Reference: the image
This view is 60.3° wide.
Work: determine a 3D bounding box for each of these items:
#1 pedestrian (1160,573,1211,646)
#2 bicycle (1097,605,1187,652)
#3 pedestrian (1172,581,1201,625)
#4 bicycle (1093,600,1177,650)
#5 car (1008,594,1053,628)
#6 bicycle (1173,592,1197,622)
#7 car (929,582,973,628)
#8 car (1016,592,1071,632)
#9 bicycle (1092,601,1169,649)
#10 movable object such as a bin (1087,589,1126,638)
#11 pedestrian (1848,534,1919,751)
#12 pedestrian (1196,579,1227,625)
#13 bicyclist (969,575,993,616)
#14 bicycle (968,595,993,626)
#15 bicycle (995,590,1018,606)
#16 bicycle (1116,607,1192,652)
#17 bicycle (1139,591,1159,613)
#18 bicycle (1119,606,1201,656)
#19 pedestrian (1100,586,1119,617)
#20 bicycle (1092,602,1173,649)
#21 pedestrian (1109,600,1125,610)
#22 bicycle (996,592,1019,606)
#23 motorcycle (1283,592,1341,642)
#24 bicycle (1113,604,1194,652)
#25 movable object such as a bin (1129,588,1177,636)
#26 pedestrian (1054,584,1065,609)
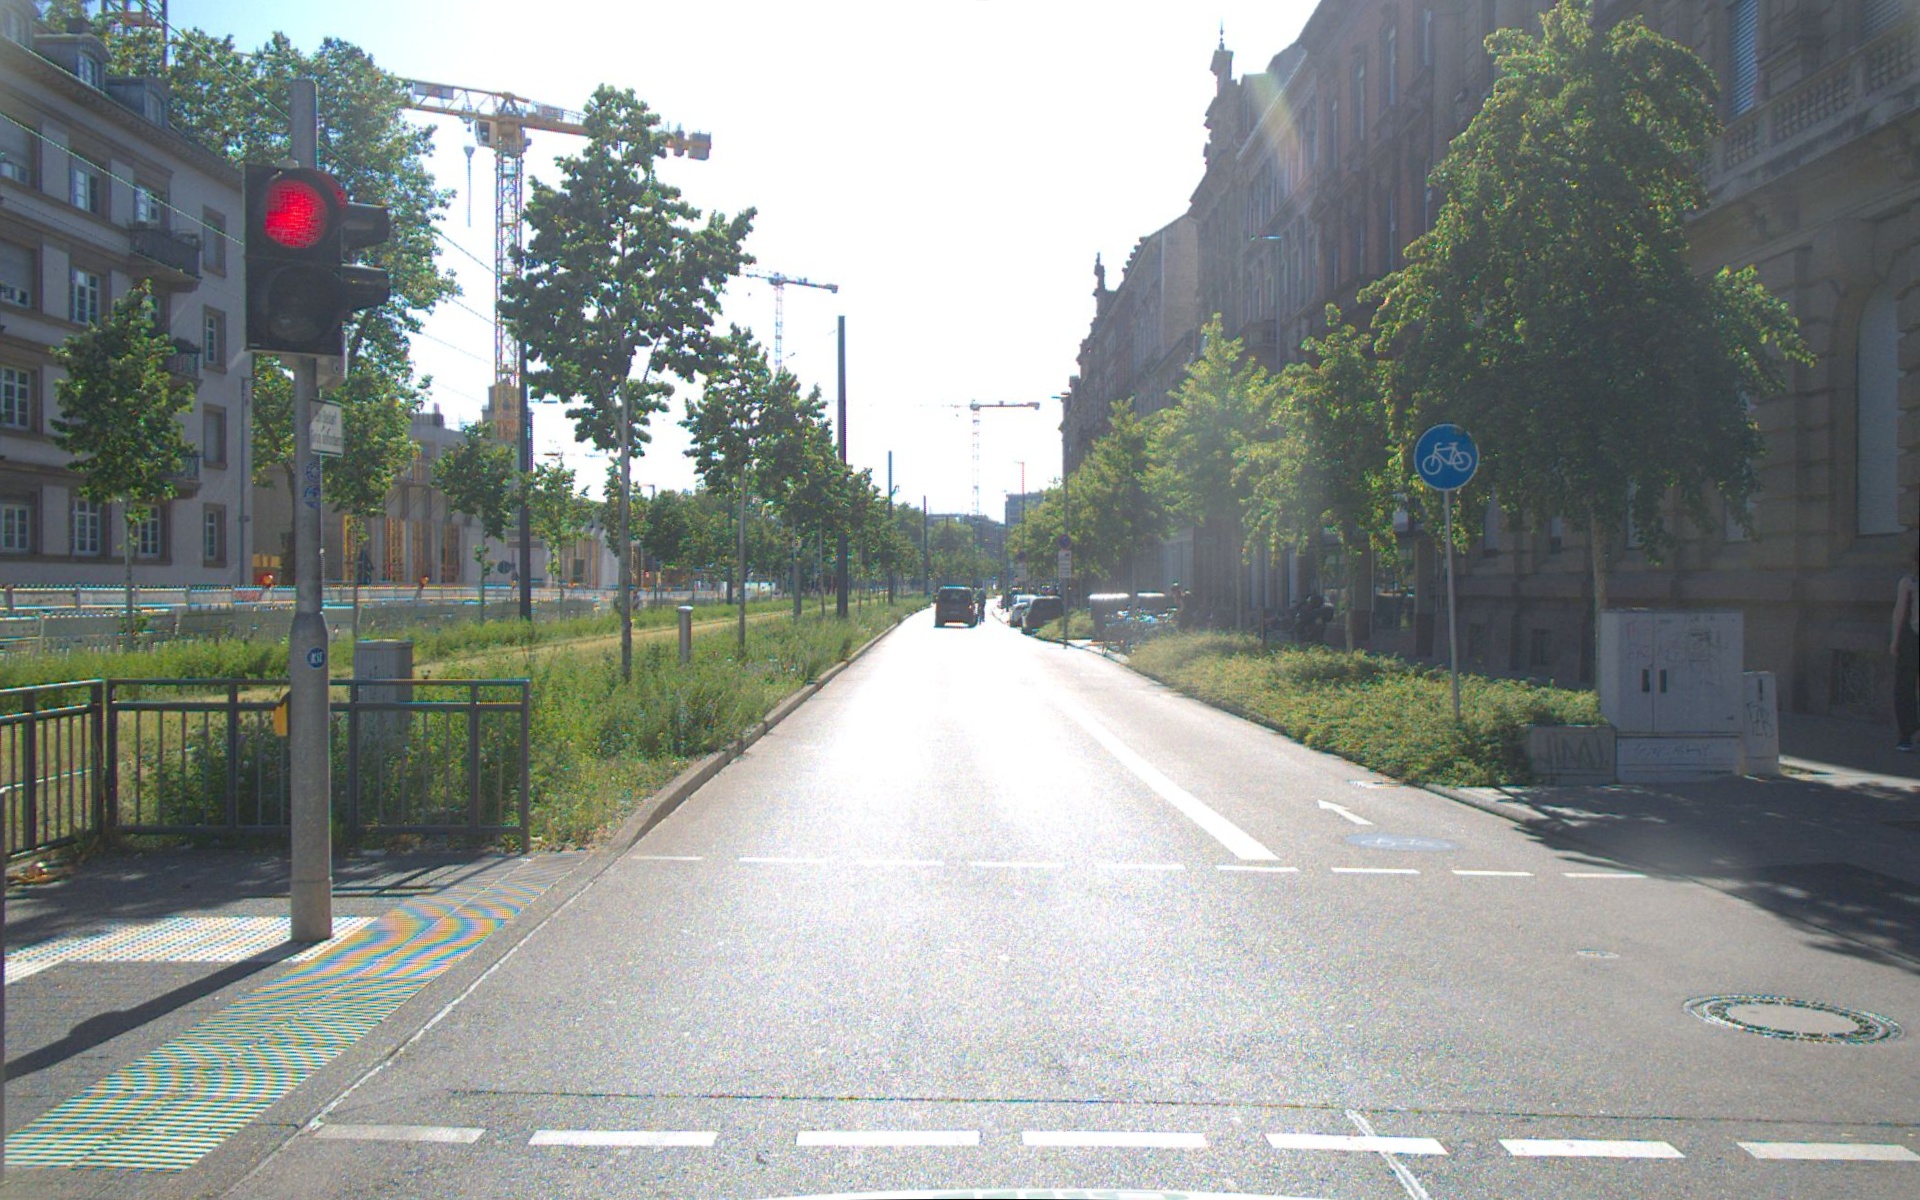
[{"bbox_3d":[5.662,0.238,41.524,0.884,1.766,0.846,-3,0,36],"label":"pedestrian"},{"bbox_3d":[4.700,0.726,42.658,2.247,1.121,0.484,-2,0,-15],"label":"bicycle"},{"bbox_3d":[8.443,0.105,61.680,0.931,1.594,1.080,-1,1,-1],"label":"pedestrian"},{"bbox_3d":[4.559,0.646,43.000,2.111,1.174,0.428,-3,1,-15],"label":"bicycle"},{"bbox_3d":[3.394,0.493,80.307,1.912,1.521,5.104,-2,0,0],"label":"car"},{"bbox_3d":[9.498,0.284,69.958,0.732,1.222,1.800,-1,0,-1],"label":"bicycle"},{"bbox_3d":[-0.382,0.248,76.662,1.953,2.049,4.000,1,0,0],"label":"car"},{"bbox_3d":[3.393,0.477,67.600,1.730,1.502,4.446,-2,0,-3],"label":"car"},{"bbox_3d":[4.586,0.672,44.492,1.937,1.143,0.481,-4,1,-6],"label":"bicycle"},{"bbox_3d":[4.843,0.434,54.744,1.244,1.488,1.645,1,2,4],"label":"movable object such as a bin"},{"bbox_3d":[8.996,0.367,15.382,0.871,1.953,1.098,-2,0,4],"label":"pedestrian"},{"bbox_3d":[9.388,0.072,61.724,0.951,1.667,0.992,-1,1,-1],"label":"pedestrian"},{"bbox_3d":[1.063,-0.236,84.676,1.185,2.051,1.641,1,0,-1],"label":"bicyclist"},{"bbox_3d":[1.029,0.530,84.788,1.185,1.490,3.999,1,0,-1],"label":"bicycle"},{"bbox_3d":[3.892,-0.156,137.683,1.843,1.255,0.499,-3,0,-6],"label":"bicycle"},{"bbox_3d":[4.821,0.728,41.151,1.780,1.074,0.571,-2,0,-7],"label":"bicycle"},{"bbox_3d":[9.606,0.105,84.142,0.706,1.109,2.198,-1,0,0],"label":"bicycle"},{"bbox_3d":[4.795,0.736,39.677,1.855,1.128,0.517,-2,0,-6],"label":"bicycle"},{"bbox_3d":[8.590,0.074,94.865,0.976,1.762,0.866,1,-1,-1],"label":"pedestrian"},{"bbox_3d":[4.597,0.667,44.085,2.004,1.126,0.610,-3,0,-7],"label":"bicycle"},{"bbox_3d":[9.593,0.310,100.985,0.757,0.562,2.007,-1,1,-1],"label":"pedestrian"},{"bbox_3d":[4.010,-0.084,139.218,1.790,1.097,0.664,-3,0,-7],"label":"bicycle"},{"bbox_3d":[9.448,0.457,44.504,0.848,1.288,2.981,1,0,-1],"label":"motorcycle"},{"bbox_3d":[4.860,0.696,41.495,1.938,1.127,0.435,-2,0,-4],"label":"bicycle"},{"bbox_3d":[6.406,0.405,54.941,1.345,1.521,1.749,-3,0,0],"label":"movable object such as a bin"},{"bbox_3d":[8.420,-0.309,139.664,0.801,2.049,1.046,1,-2,-1],"label":"pedestrian"}]
